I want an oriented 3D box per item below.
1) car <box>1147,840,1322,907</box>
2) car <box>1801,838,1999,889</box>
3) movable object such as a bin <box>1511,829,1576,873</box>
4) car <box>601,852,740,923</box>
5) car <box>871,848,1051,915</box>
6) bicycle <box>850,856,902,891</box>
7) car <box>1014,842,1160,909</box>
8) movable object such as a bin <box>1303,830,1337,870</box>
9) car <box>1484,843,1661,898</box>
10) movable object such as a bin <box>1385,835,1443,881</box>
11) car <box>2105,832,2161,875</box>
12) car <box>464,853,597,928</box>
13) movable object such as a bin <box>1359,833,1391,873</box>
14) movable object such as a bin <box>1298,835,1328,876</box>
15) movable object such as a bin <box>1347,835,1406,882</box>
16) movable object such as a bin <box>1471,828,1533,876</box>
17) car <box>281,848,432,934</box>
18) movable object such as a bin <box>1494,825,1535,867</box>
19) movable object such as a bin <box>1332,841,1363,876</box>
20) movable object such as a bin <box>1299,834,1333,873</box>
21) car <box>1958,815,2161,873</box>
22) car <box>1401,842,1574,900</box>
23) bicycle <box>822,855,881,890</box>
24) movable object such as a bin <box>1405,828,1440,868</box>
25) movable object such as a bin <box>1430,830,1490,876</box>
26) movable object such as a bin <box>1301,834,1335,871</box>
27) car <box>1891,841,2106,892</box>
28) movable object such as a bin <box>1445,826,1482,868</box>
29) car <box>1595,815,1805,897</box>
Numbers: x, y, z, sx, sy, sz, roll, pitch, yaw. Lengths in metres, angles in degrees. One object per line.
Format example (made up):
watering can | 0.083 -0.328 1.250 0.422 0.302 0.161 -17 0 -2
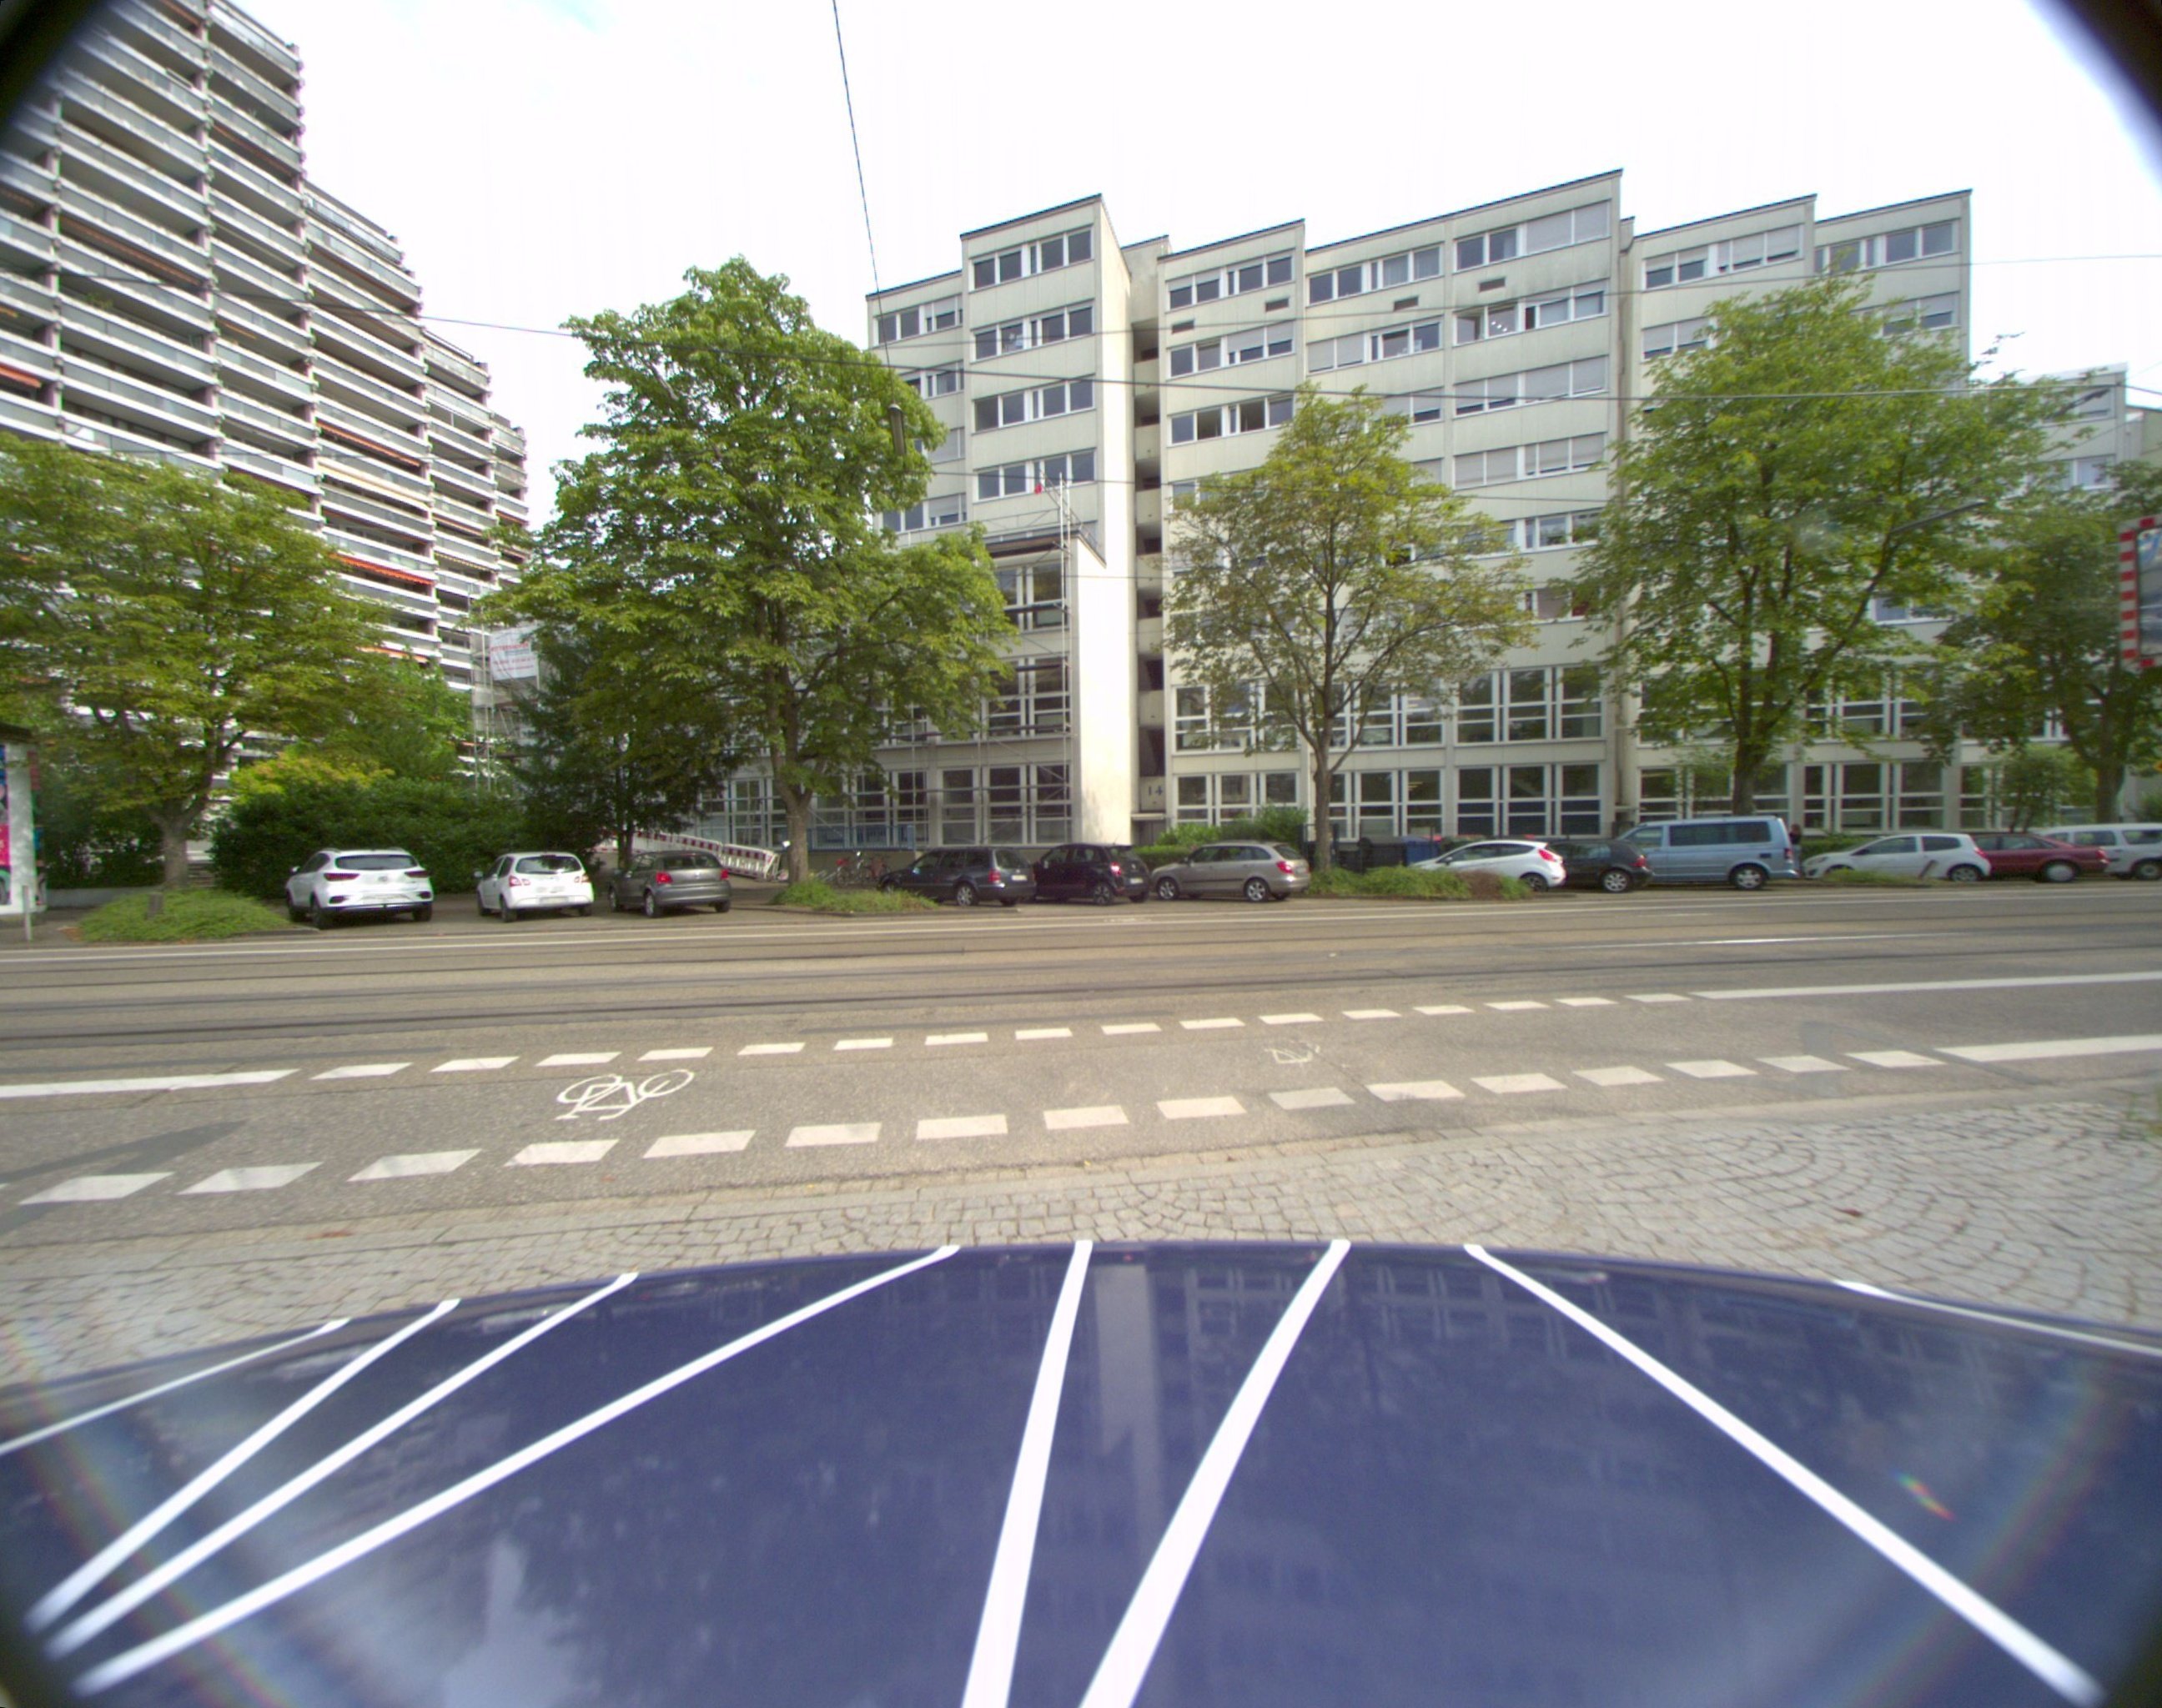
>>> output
car | 3.843 0.454 19.355 4.041 1.529 1.599 0 2 36
car | 23.540 0.240 22.054 3.635 1.323 1.771 0 2 36
movable object such as a bin | 15.937 -0.122 26.245 1.399 1.450 1.334 -1 2 -4
car | -9.541 0.693 17.559 3.636 1.412 1.685 0 3 43
car | -2.992 0.612 18.635 4.158 1.407 1.819 0 2 33
bicycle | -6.672 0.604 24.889 0.593 1.038 1.980 0 2 20
car | 0.116 0.487 19.241 3.407 1.529 1.599 0 2 39
movable object such as a bin | 9.590 -0.163 30.546 1.178 1.559 1.176 -1 2 13
car | 13.478 0.421 20.954 3.961 1.379 1.818 0 0 36
movable object such as a bin | 11.324 0.125 25.896 1.337 1.495 1.334 -1 2 -4
car | 35.979 -0.038 24.193 3.635 1.323 1.771 0 2 36
car | -12.556 0.733 17.266 3.636 1.466 1.685 0 3 43
movable object such as a bin | 11.777 -0.062 30.456 1.172 1.559 1.181 0 2 20
movable object such as a bin | 8.155 0.045 26.763 0.910 1.399 1.025 -1 2 13
movable object such as a bin | 9.915 0.129 25.548 1.415 1.521 1.330 -1 2 -4
movable object such as a bin | 14.400 -0.086 26.051 1.353 1.587 1.334 -1 2 -4
car | -15.681 0.718 16.405 3.636 1.593 1.685 0 2 37
movable object such as a bin | 16.357 -0.313 28.699 1.172 1.559 1.181 0 2 20
movable object such as a bin | 8.785 0.146 25.079 0.743 1.099 0.786 -1 2 -2
movable object such as a bin | 8.651 -0.033 28.000 1.116 1.384 1.064 -1 2 13
car | 29.476 -0.302 22.884 3.759 1.609 1.818 0 2 40
car | 10.701 0.394 20.108 3.851 1.385 1.637 0 2 36
bicycle | -7.554 0.582 25.094 0.593 1.038 1.981 0 2 29
movable object such as a bin | 13.349 -0.235 29.723 1.172 1.505 1.181 0 2 20
movable object such as a bin | 12.925 -0.041 25.946 1.353 1.494 1.334 -1 2 -4
movable object such as a bin | 9.109 -0.072 29.259 1.178 1.362 1.176 -1 2 13
car | 26.682 0.322 22.327 3.759 1.331 1.818 0 2 40
movable object such as a bin | 14.746 -0.280 29.325 1.172 1.559 1.181 0 2 20
car | 16.945 0.016 21.106 4.333 2.052 2.004 0 2 36
